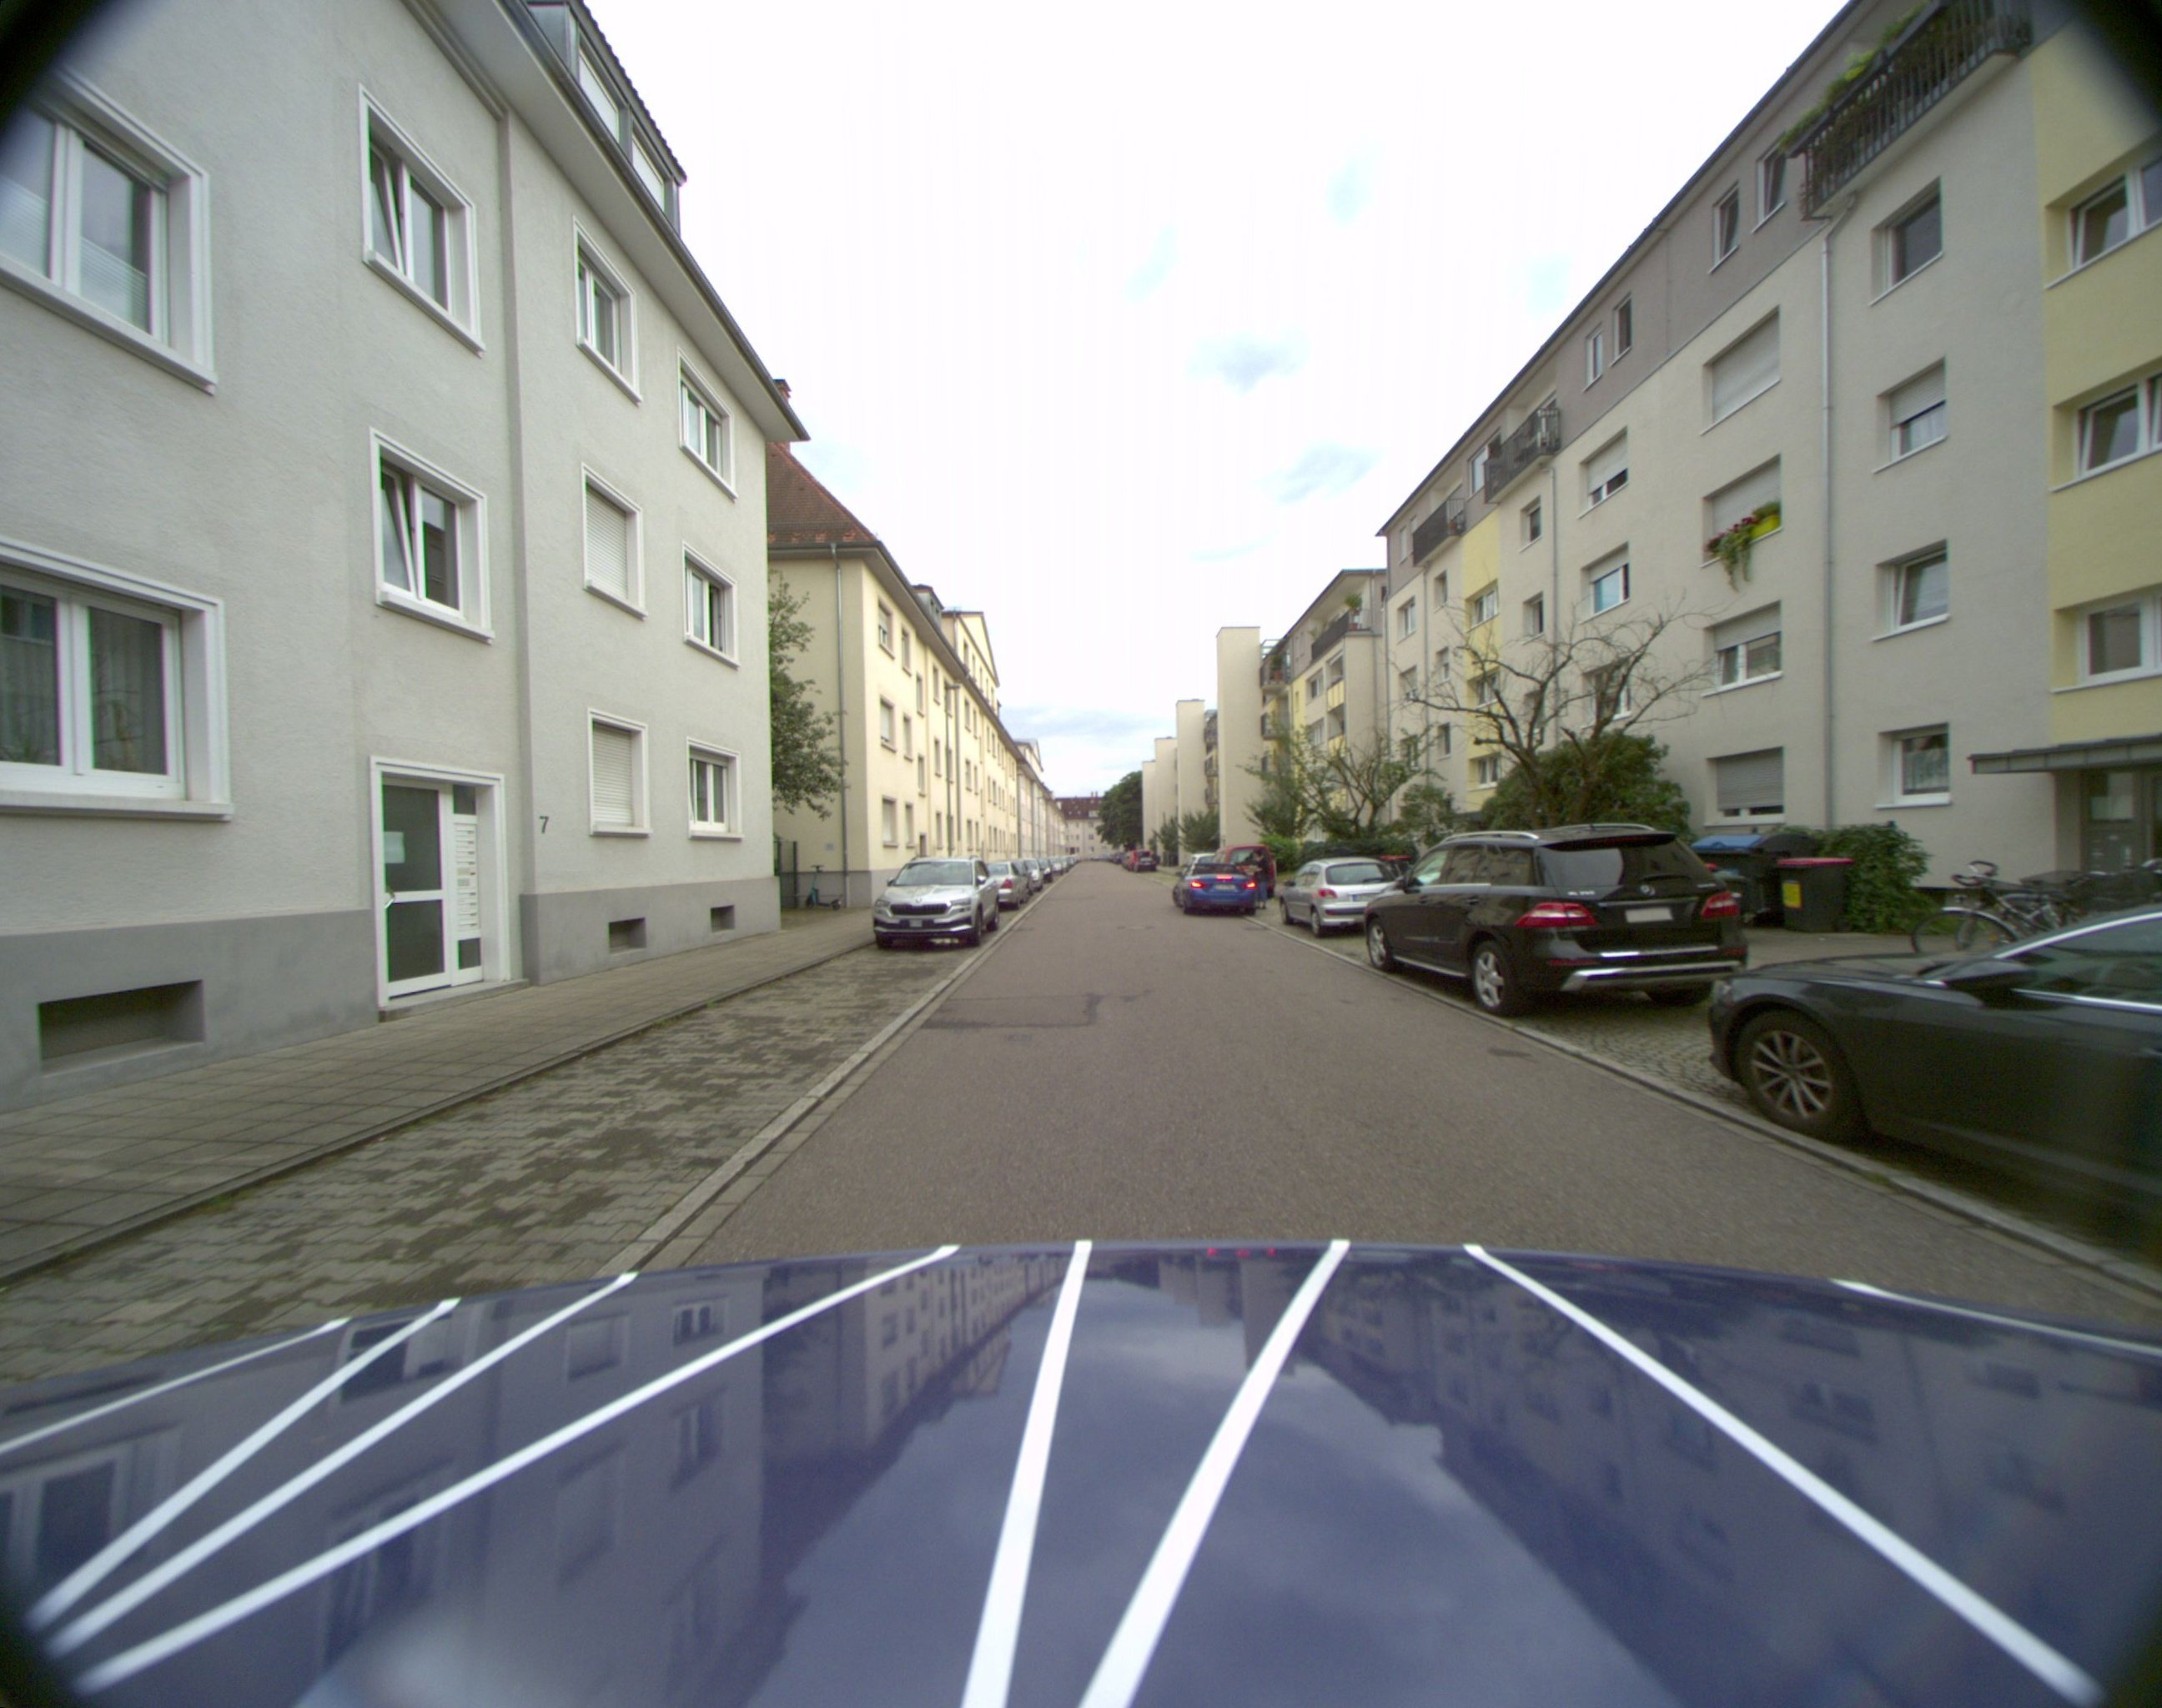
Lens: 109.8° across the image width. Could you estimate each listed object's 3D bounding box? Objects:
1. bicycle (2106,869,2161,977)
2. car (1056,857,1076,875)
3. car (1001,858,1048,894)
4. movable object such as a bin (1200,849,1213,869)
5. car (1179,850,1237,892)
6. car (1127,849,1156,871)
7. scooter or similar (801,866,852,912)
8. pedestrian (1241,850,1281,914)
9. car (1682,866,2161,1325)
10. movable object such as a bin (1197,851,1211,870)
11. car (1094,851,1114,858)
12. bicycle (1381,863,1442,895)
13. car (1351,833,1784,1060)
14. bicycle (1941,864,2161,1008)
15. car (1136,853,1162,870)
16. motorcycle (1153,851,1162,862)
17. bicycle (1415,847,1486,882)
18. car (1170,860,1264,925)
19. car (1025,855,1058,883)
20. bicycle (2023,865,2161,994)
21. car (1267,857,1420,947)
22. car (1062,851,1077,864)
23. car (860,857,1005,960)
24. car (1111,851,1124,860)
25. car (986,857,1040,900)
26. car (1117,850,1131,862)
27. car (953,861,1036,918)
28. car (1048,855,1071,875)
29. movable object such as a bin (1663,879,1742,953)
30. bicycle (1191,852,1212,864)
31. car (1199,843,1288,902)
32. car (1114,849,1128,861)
[{"bbox_3d":[11.378,0.703,6.969,0.790,1.074,2.355,-1,0,1],"label":"bicycle"},{"bbox_3d":[-1.364,1.097,71.194,1.729,1.483,4.060,-2,0,0],"label":"car"},{"bbox_3d":[-2.478,0.924,34.184,1.853,1.441,3.832,-2,0,-1],"label":"car"},{"bbox_3d":[9.134,0.361,55.231,0.805,1.421,1.288,-2,1,4],"label":"movable object such as a bin"},{"bbox_3d":[5.256,0.665,31.822,1.725,1.561,3.870,-3,0,1],"label":"car"},{"bbox_3d":[5.749,0.527,72.480,2.157,1.942,4.921,-3,0,-1],"label":"car"},{"bbox_3d":[-7.096,0.982,21.189,1.278,1.238,0.523,-1,0,17],"label":"scooter or similar"},{"bbox_3d":[4.940,0.749,20.857,0.744,1.692,0.795,-1,1,-20],"label":"pedestrian"},{"bbox_3d":[4.697,0.873,2.391,1.900,1.444,4.666,-4,0,1],"label":"car"},{"bbox_3d":[9.149,0.474,56.618,0.805,1.421,1.288,-2,1,3],"label":"movable object such as a bin"},{"bbox_3d":[5.506,0.163,182.753,4.545,1.551,1.565,-1,1,5],"label":"car"},{"bbox_3d":[9.792,0.711,22.626,0.572,0.843,2.756,-1,0,0],"label":"bicycle"},{"bbox_3d":[4.765,0.749,8.440,1.900,1.730,4.474,-4,0,1],"label":"car"},{"bbox_3d":[9.692,0.712,7.039,0.790,1.205,2.355,-1,0,1],"label":"bicycle"},{"bbox_3d":[5.869,0.634,66.066,1.875,1.316,4.361,-2,0,0],"label":"car"},{"bbox_3d":[9.007,0.267,89.420,0.871,1.299,2.420,-3,0,1],"label":"motorcycle"},{"bbox_3d":[10.991,0.292,22.742,0.779,0.993,2.756,-1,0,0],"label":"bicycle"},{"bbox_3d":[3.545,0.944,20.637,1.849,1.443,4.501,-2,0,2],"label":"car"},{"bbox_3d":[-2.261,0.839,44.579,1.729,1.508,4.060,-2,0,-1],"label":"car"},{"bbox_3d":[10.528,0.716,6.999,0.790,1.179,2.355,-1,0,1],"label":"bicycle"},{"bbox_3d":[5.103,0.856,15.299,1.749,1.456,3.785,-3,0,1],"label":"car"},{"bbox_3d":[-1.493,0.416,99.748,1.788,1.590,3.805,-2,0,2],"label":"car"},{"bbox_3d":[-2.633,0.897,14.496,1.825,1.633,4.091,-1,0,2],"label":"car"},{"bbox_3d":[6.719,0.307,140.061,1.919,1.431,4.434,-3,0,-1],"label":"car"},{"bbox_3d":[-2.569,0.889,29.322,1.607,1.468,3.869,-2,0,1],"label":"car"},{"bbox_3d":[6.297,0.247,112.307,1.804,1.617,4.472,-3,0,1],"label":"car"},{"bbox_3d":[-2.521,0.993,23.238,1.729,1.468,4.505,-2,0,3],"label":"car"},{"bbox_3d":[-1.721,0.839,61.282,1.729,1.508,4.060,0,0,-1],"label":"car"},{"bbox_3d":[8.392,0.826,10.286,0.552,0.949,0.635,0,1,0],"label":"movable object such as a bin"},{"bbox_3d":[11.330,0.366,71.652,1.839,1.112,0.605,-2,1,-1],"label":"bicycle"},{"bbox_3d":[5.455,0.579,26.146,1.962,1.760,4.361,-3,0,-1],"label":"car"},{"bbox_3d":[6.531,0.189,124.496,1.891,1.844,4.785,-2,0,0],"label":"car"}]
